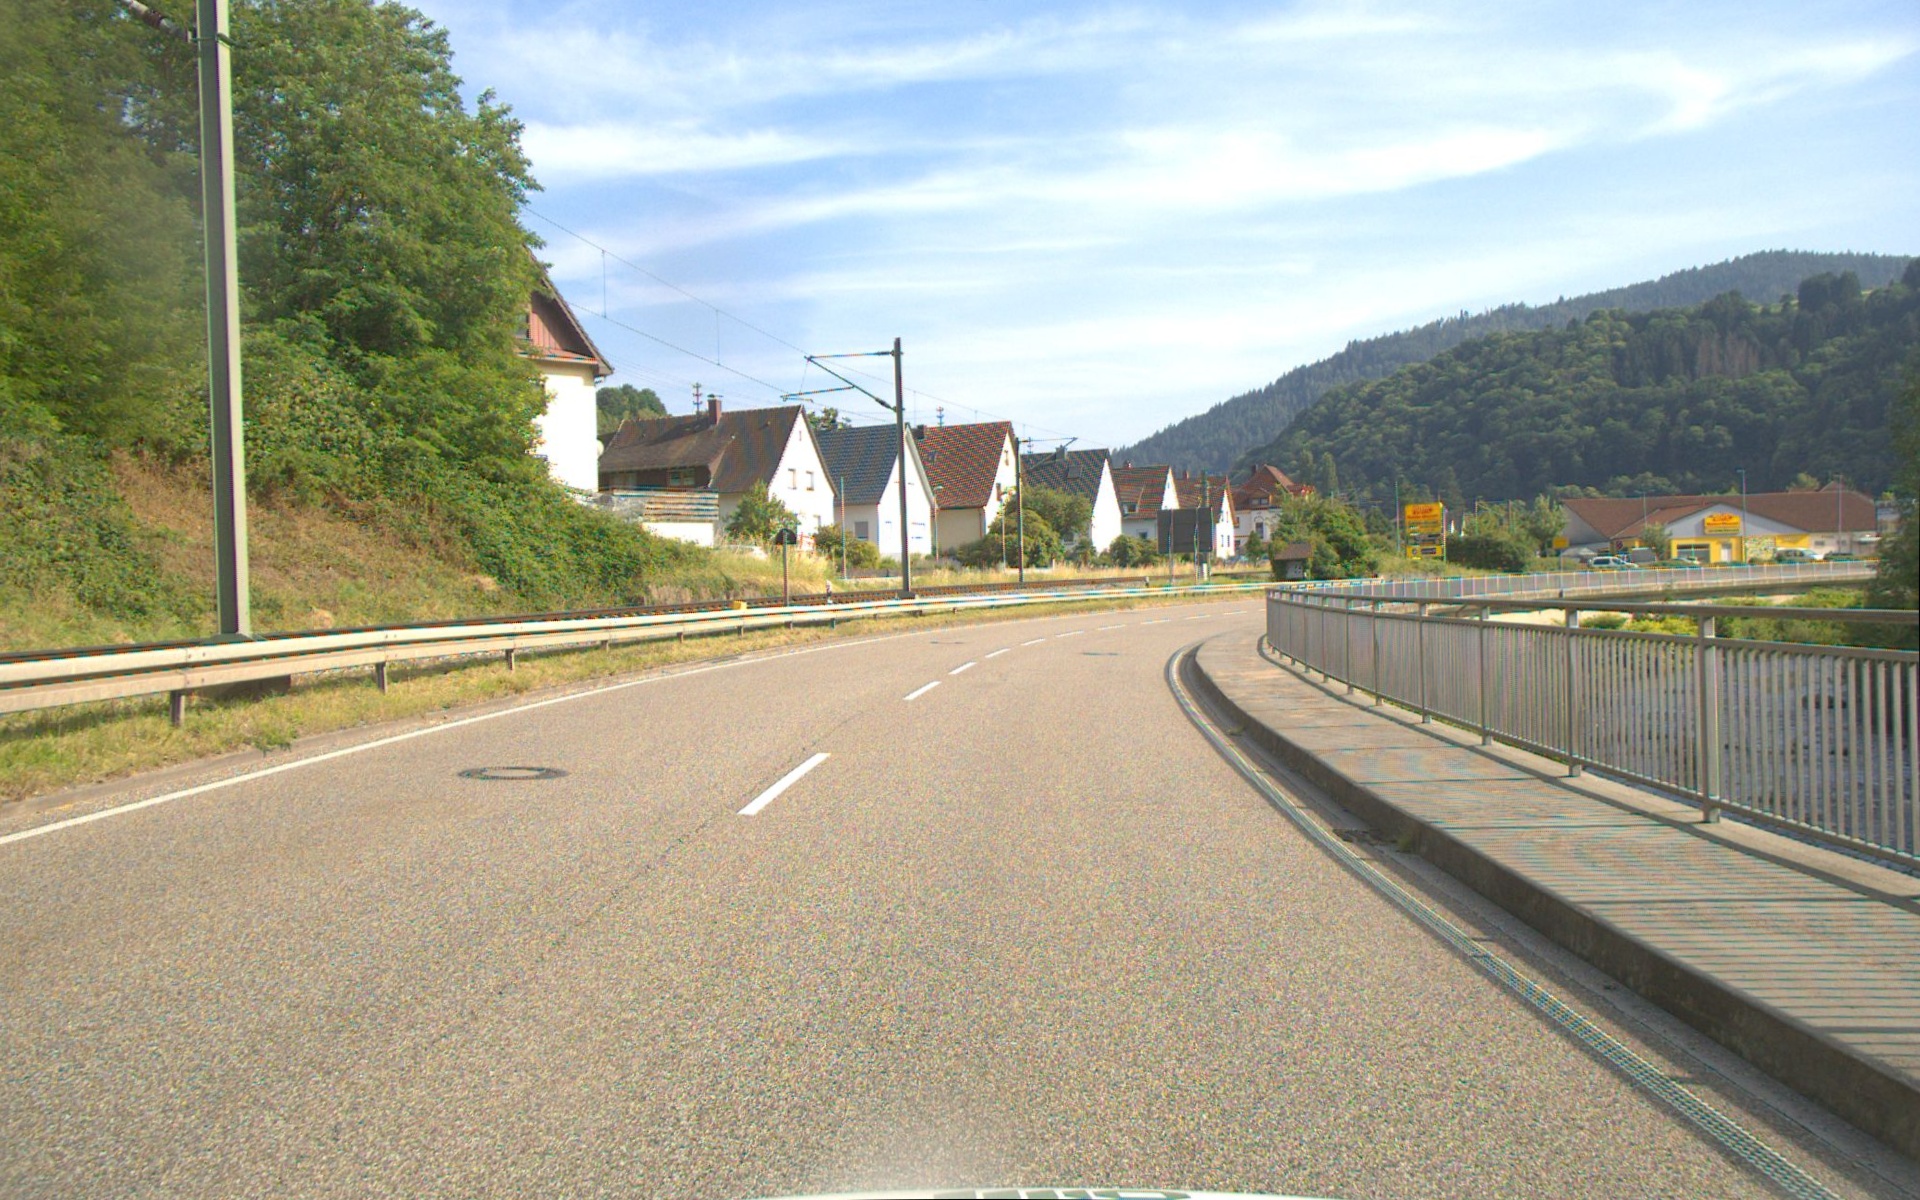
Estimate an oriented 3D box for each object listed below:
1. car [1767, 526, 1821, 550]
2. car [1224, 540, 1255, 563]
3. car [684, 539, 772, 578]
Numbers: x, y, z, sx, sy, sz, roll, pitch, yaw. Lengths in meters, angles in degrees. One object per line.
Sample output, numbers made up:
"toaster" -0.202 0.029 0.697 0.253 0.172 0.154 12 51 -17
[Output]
"car" 76.139 -5.639 151.067 1.975 2.049 3.956 3 -1 -32
"car" 26.066 -4.489 153.916 1.954 1.913 4.001 6 3 21
"car" -10.976 -1.986 78.321 3.948 1.703 1.643 -1 4 -16
